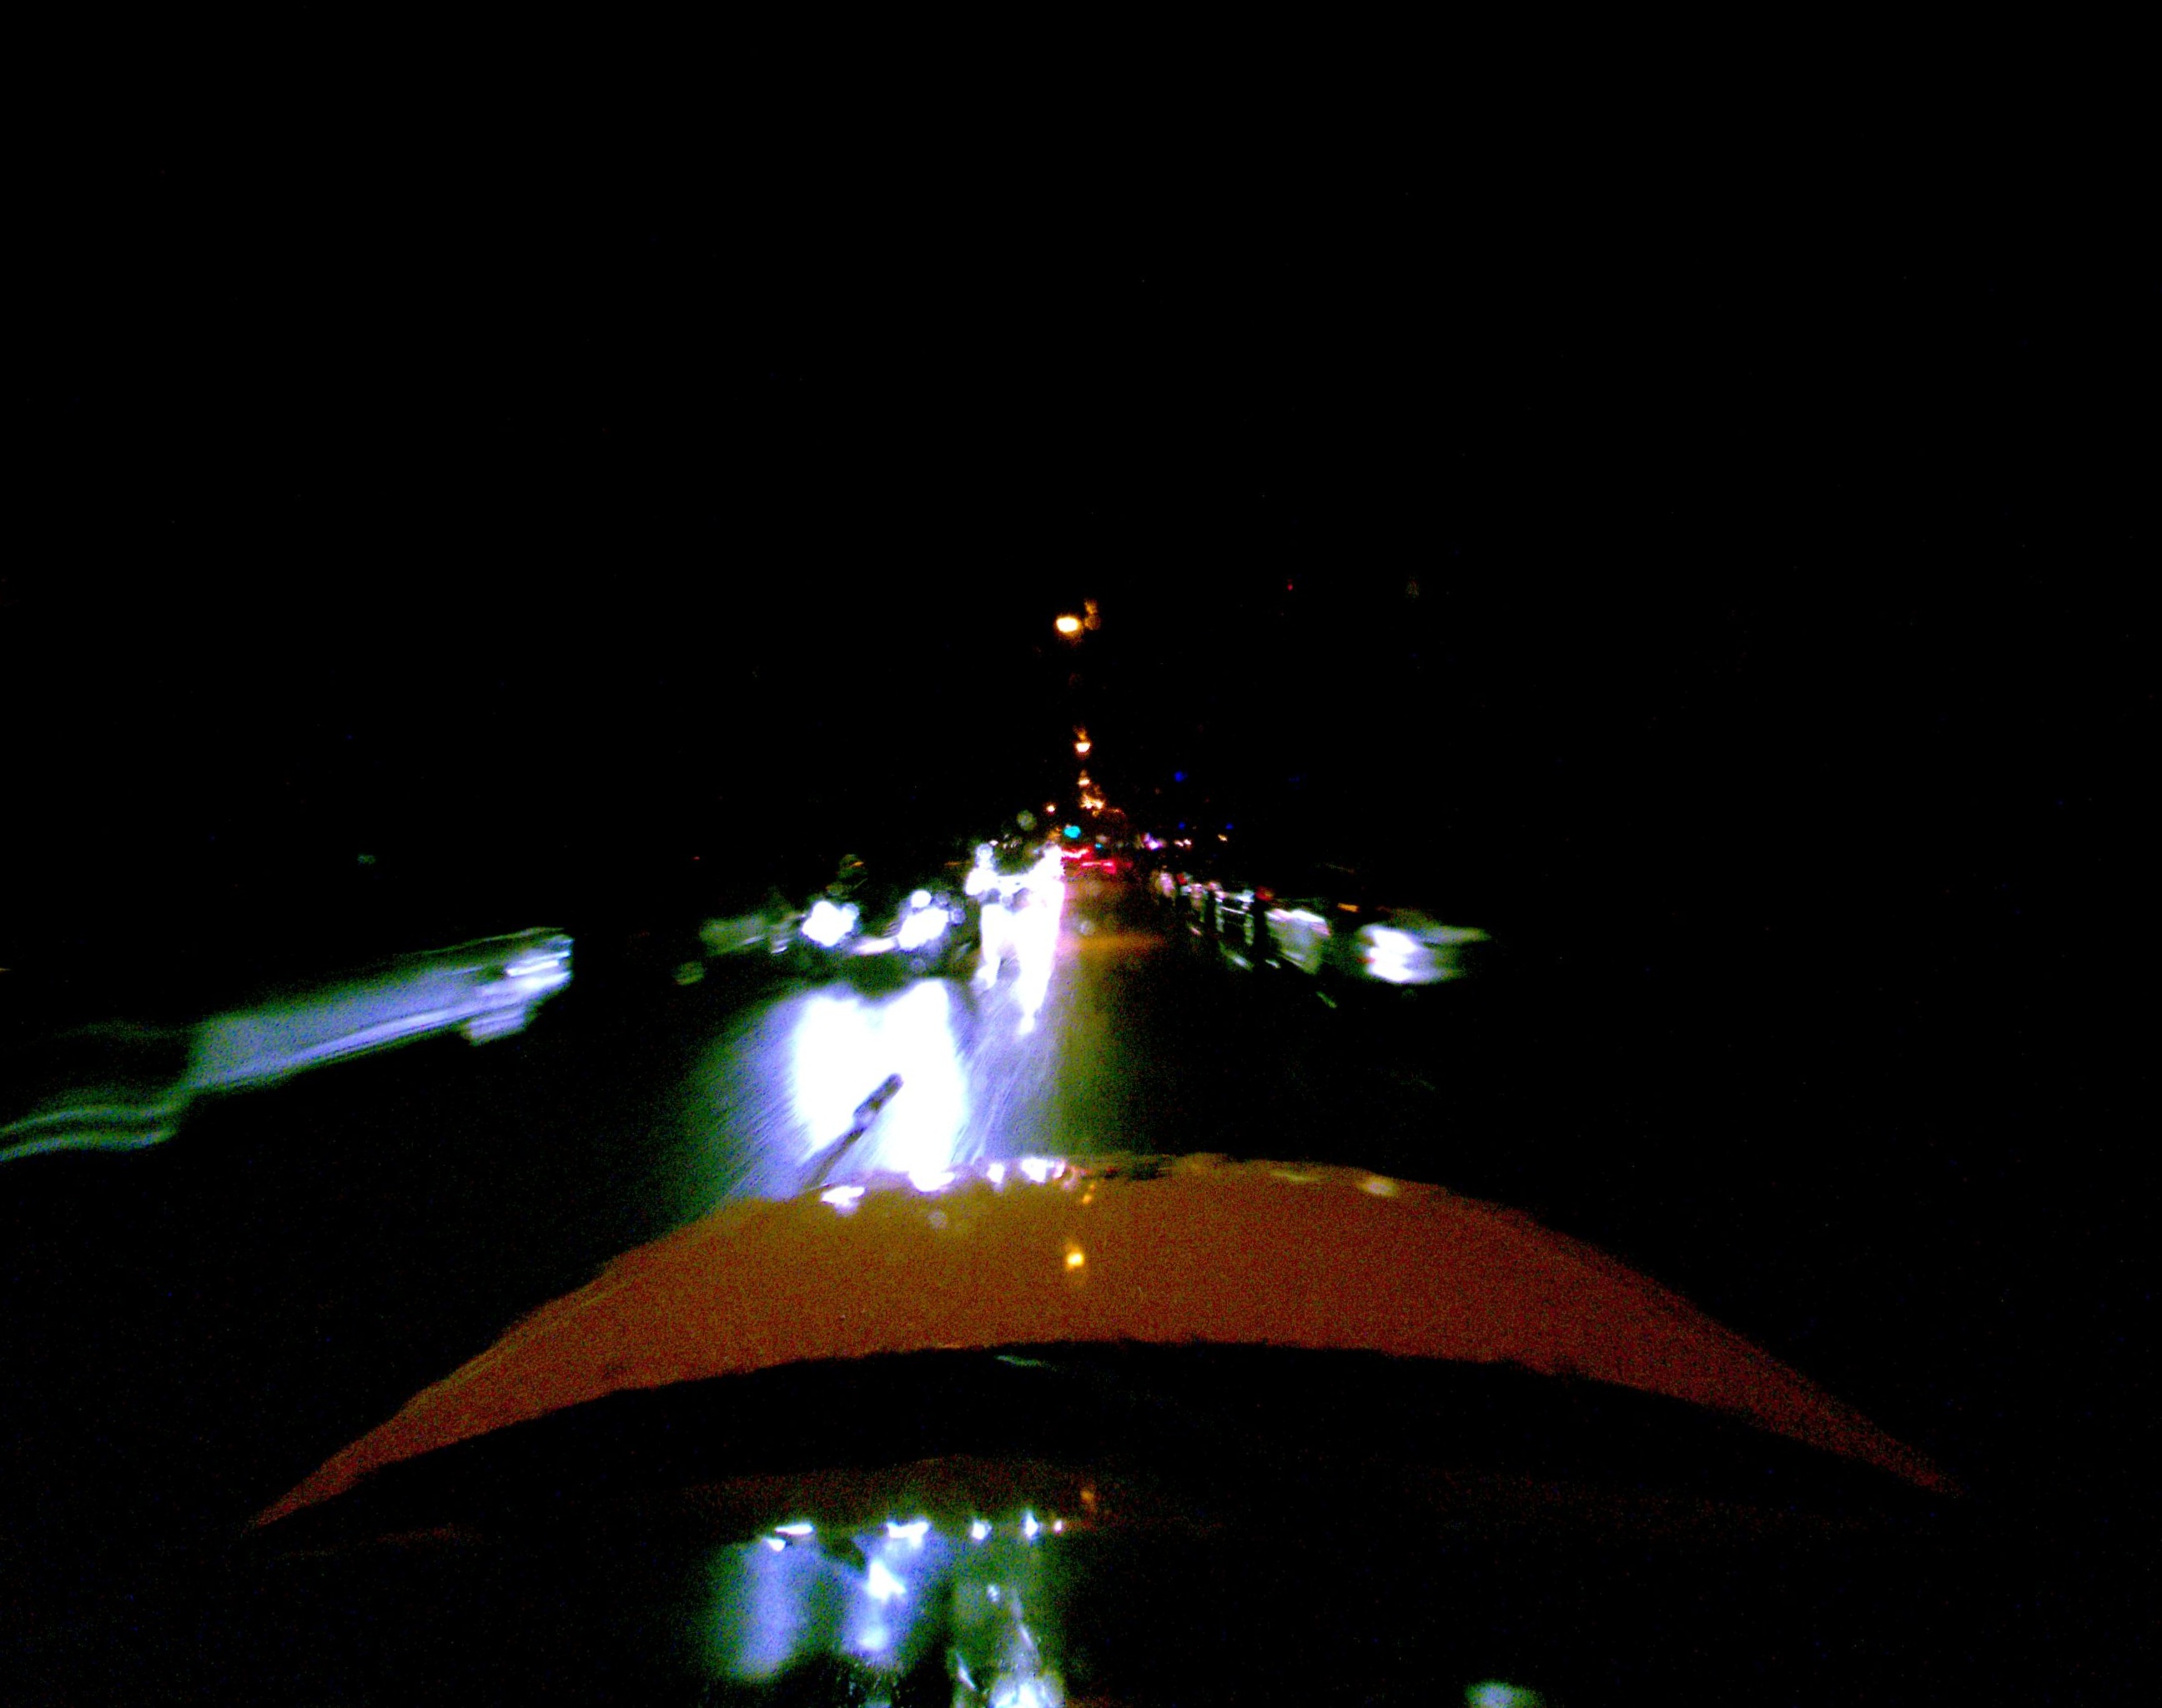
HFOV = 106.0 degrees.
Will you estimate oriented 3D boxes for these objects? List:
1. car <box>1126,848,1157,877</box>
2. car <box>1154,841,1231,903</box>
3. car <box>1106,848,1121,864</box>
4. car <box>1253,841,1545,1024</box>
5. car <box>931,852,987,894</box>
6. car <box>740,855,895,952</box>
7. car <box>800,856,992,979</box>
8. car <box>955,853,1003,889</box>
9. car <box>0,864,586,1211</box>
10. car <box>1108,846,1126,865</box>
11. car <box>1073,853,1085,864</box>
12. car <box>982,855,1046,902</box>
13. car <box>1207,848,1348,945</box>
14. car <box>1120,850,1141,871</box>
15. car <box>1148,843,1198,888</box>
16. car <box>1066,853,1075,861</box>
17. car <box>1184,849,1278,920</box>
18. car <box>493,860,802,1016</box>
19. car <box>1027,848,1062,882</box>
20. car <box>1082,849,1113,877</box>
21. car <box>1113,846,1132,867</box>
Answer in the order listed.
[{"bbox_3d":[3.517,0.453,48.077,1.530,1.561,3.805,-4,0,1],"label":"car"},{"bbox_3d":[3.382,0.501,25.339,1.814,1.673,4.001,-4,0,1],"label":"car"},{"bbox_3d":[3.664,0.187,93.557,1.530,1.709,3.805,-4,0,1],"label":"car"},{"bbox_3d":[3.191,0.652,9.218,1.622,1.466,4.513,-4,0,2],"label":"car"},{"bbox_3d":[-5.063,0.751,34.254,1.570,1.462,4.000,-7,0,1],"label":"car"},{"bbox_3d":[-5.329,0.912,17.100,1.607,1.570,4.452,-7,0,0],"label":"car"},{"bbox_3d":[-2.551,0.797,12.430,1.851,1.461,4.523,-1,0,0],"label":"car"},{"bbox_3d":[-4.815,0.766,38.963,1.570,1.462,4.000,-7,0,1],"label":"car"},{"bbox_3d":[-5.596,0.886,5.519,1.573,1.457,4.643,-4,0,0],"label":"car"},{"bbox_3d":[3.527,0.116,79.773,1.530,1.709,3.805,-4,0,1],"label":"car"},{"bbox_3d":[-0.309,0.790,141.896,1.806,1.709,3.805,-4,0,1],"label":"car"},{"bbox_3d":[-2.288,0.797,29.070,1.814,1.463,4.866,-1,0,0],"label":"car"},{"bbox_3d":[3.358,0.656,14.604,1.598,1.388,3.793,-5,0,1],"label":"car"},{"bbox_3d":[4.130,0.536,68.046,1.530,1.561,3.805,-4,0,1],"label":"car"},{"bbox_3d":[3.565,0.424,32.188,1.530,1.561,3.805,-4,0,1],"label":"car"},{"bbox_3d":[-2.209,0.622,170.233,1.530,1.709,3.805,-4,0,1],"label":"car"},{"bbox_3d":[3.407,0.630,19.068,1.490,1.388,3.748,-4,0,1],"label":"car"},{"bbox_3d":[-5.539,0.942,11.150,1.605,1.536,4.304,-5,0,3],"label":"car"},{"bbox_3d":[-2.031,0.605,46.221,1.683,1.785,4.001,-1,0,1],"label":"car"},{"bbox_3d":[1.176,0.581,56.666,1.986,1.683,4.002,-2,1,2],"label":"car"},{"bbox_3d":[3.803,0.200,74.570,1.530,1.709,3.805,-4,0,1],"label":"car"}]
